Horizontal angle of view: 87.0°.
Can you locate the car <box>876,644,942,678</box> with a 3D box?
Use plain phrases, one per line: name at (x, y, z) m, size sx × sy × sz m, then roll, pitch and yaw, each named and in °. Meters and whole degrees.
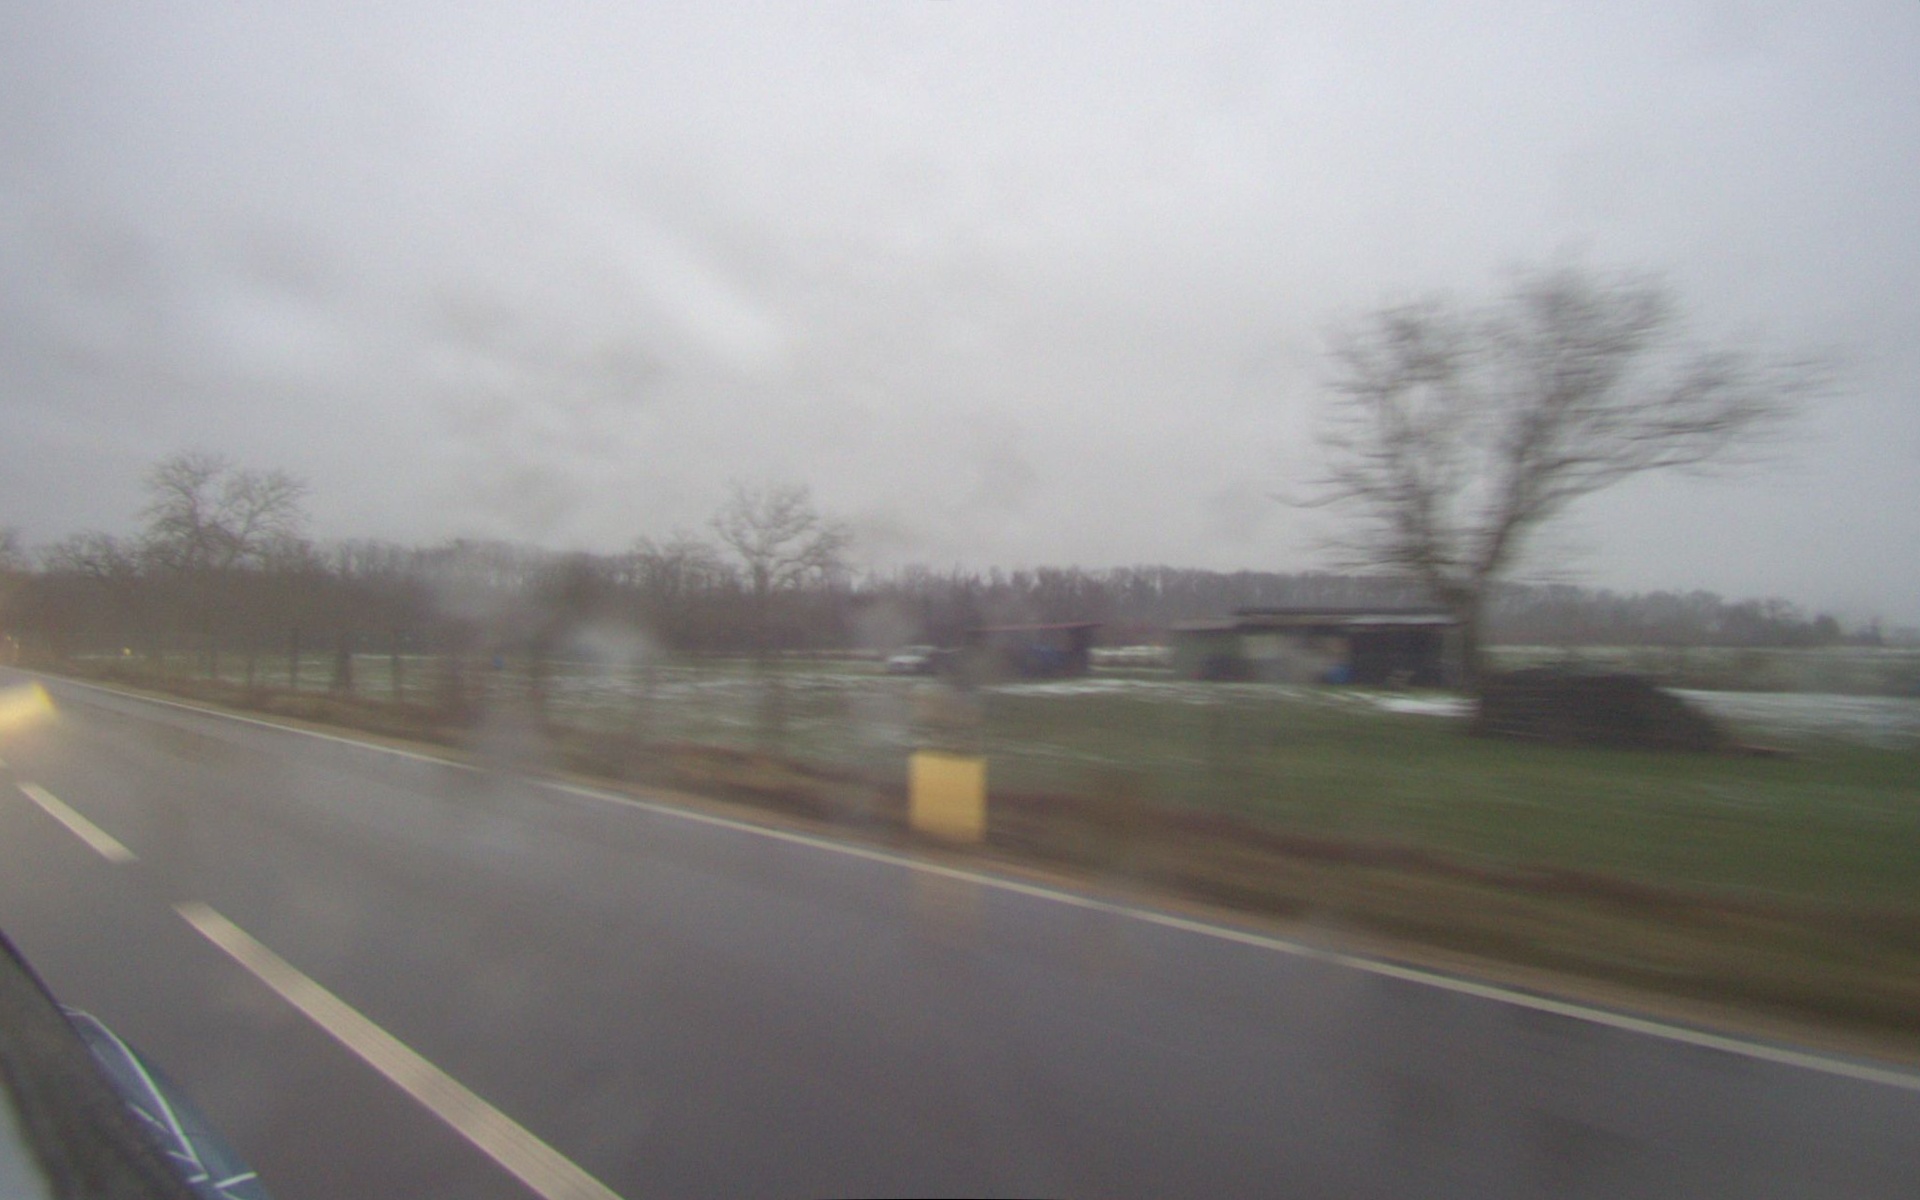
car at (-2.354, 2.816, 47.254) m, size 1.591 × 1.352 × 3.421 m, roll -1°, pitch 0°, yaw 27°
